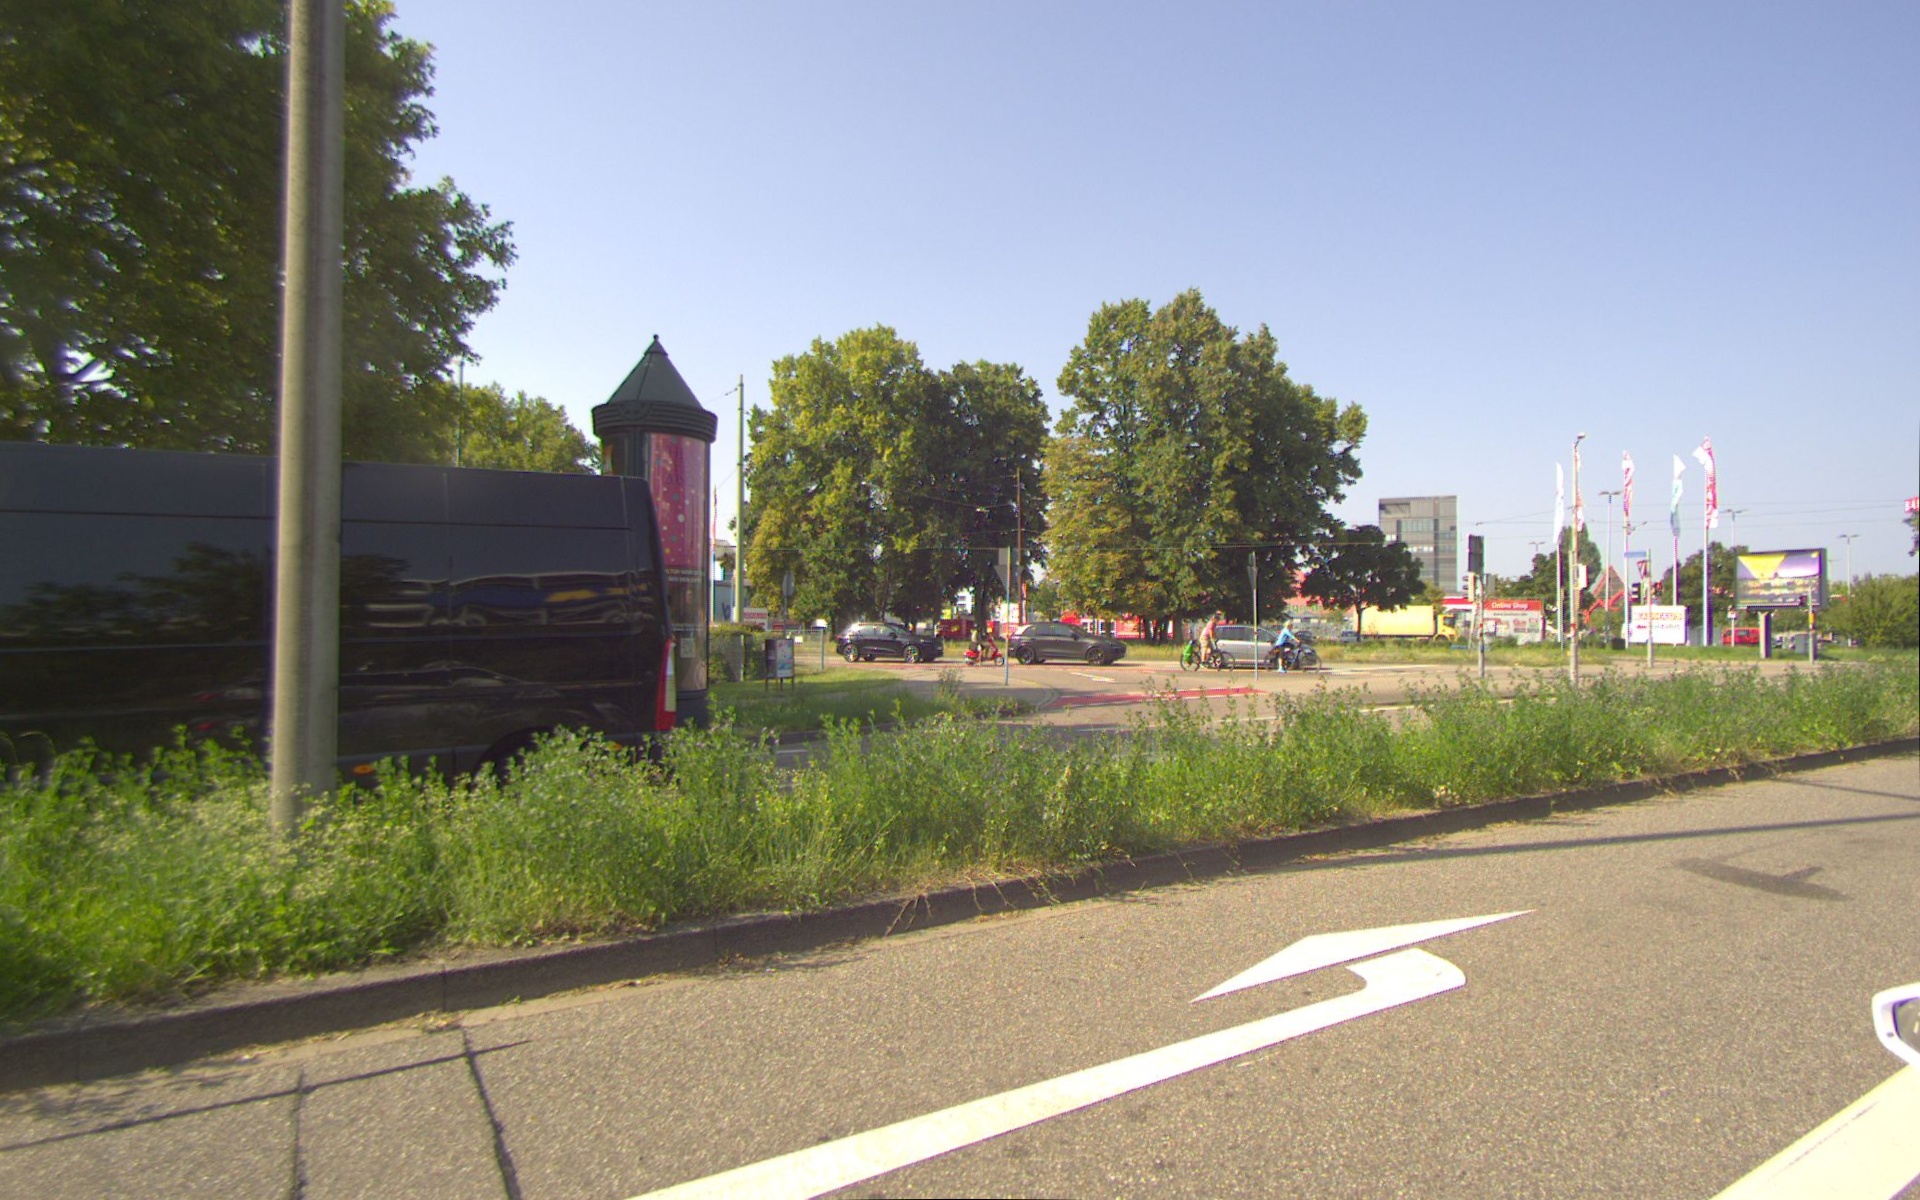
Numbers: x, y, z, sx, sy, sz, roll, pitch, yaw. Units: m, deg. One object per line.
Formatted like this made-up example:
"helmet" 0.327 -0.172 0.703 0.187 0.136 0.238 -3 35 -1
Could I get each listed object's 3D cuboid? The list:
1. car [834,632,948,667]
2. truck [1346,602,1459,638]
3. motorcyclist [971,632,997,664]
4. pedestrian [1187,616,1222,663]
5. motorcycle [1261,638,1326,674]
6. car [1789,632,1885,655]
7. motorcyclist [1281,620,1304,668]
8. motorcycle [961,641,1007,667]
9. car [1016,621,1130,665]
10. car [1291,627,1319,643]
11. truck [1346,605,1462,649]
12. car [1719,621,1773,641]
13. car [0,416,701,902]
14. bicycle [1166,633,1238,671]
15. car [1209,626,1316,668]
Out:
"car" -2.957 2.080 42.756 4.655 1.462 1.571 -1 -2 23
"truck" 38.523 1.838 87.752 8.841 2.996 3.513 -1 -2 23
"motorcyclist" 0.954 1.885 39.655 0.814 1.194 0.691 0 -1 24
"pedestrian" 8.523 1.355 34.999 1.038 1.596 0.868 0 -1 23
"motorcycle" 11.216 1.863 33.780 2.036 1.151 0.677 0 -1 24
"car" 44.199 2.172 50.688 1.472 1.152 3.368 1 -2 -23
"motorcyclist" 11.182 1.480 33.799 0.670 1.593 0.683 0 -1 23
"motorcycle" 0.943 2.121 39.661 1.688 0.957 0.711 0 -1 24
"car" 4.488 1.683 39.951 4.228 1.600 1.571 0 -1 23
"car" 26.125 2.597 76.020 1.581 1.150 3.413 0 -1 26
"truck" 25.502 1.518 57.919 2.084 2.360 5.944 1 -1 -34
"car" 84.401 3.313 107.951 4.211 2.040 1.998 0 -1 26
"car" -4.920 0.304 5.969 6.213 2.364 2.100 1 -1 -32
"bicycle" 8.442 1.806 34.998 2.315 1.252 0.874 0 -1 23
"car" 11.147 1.701 37.030 3.631 1.462 1.466 0 -1 23
